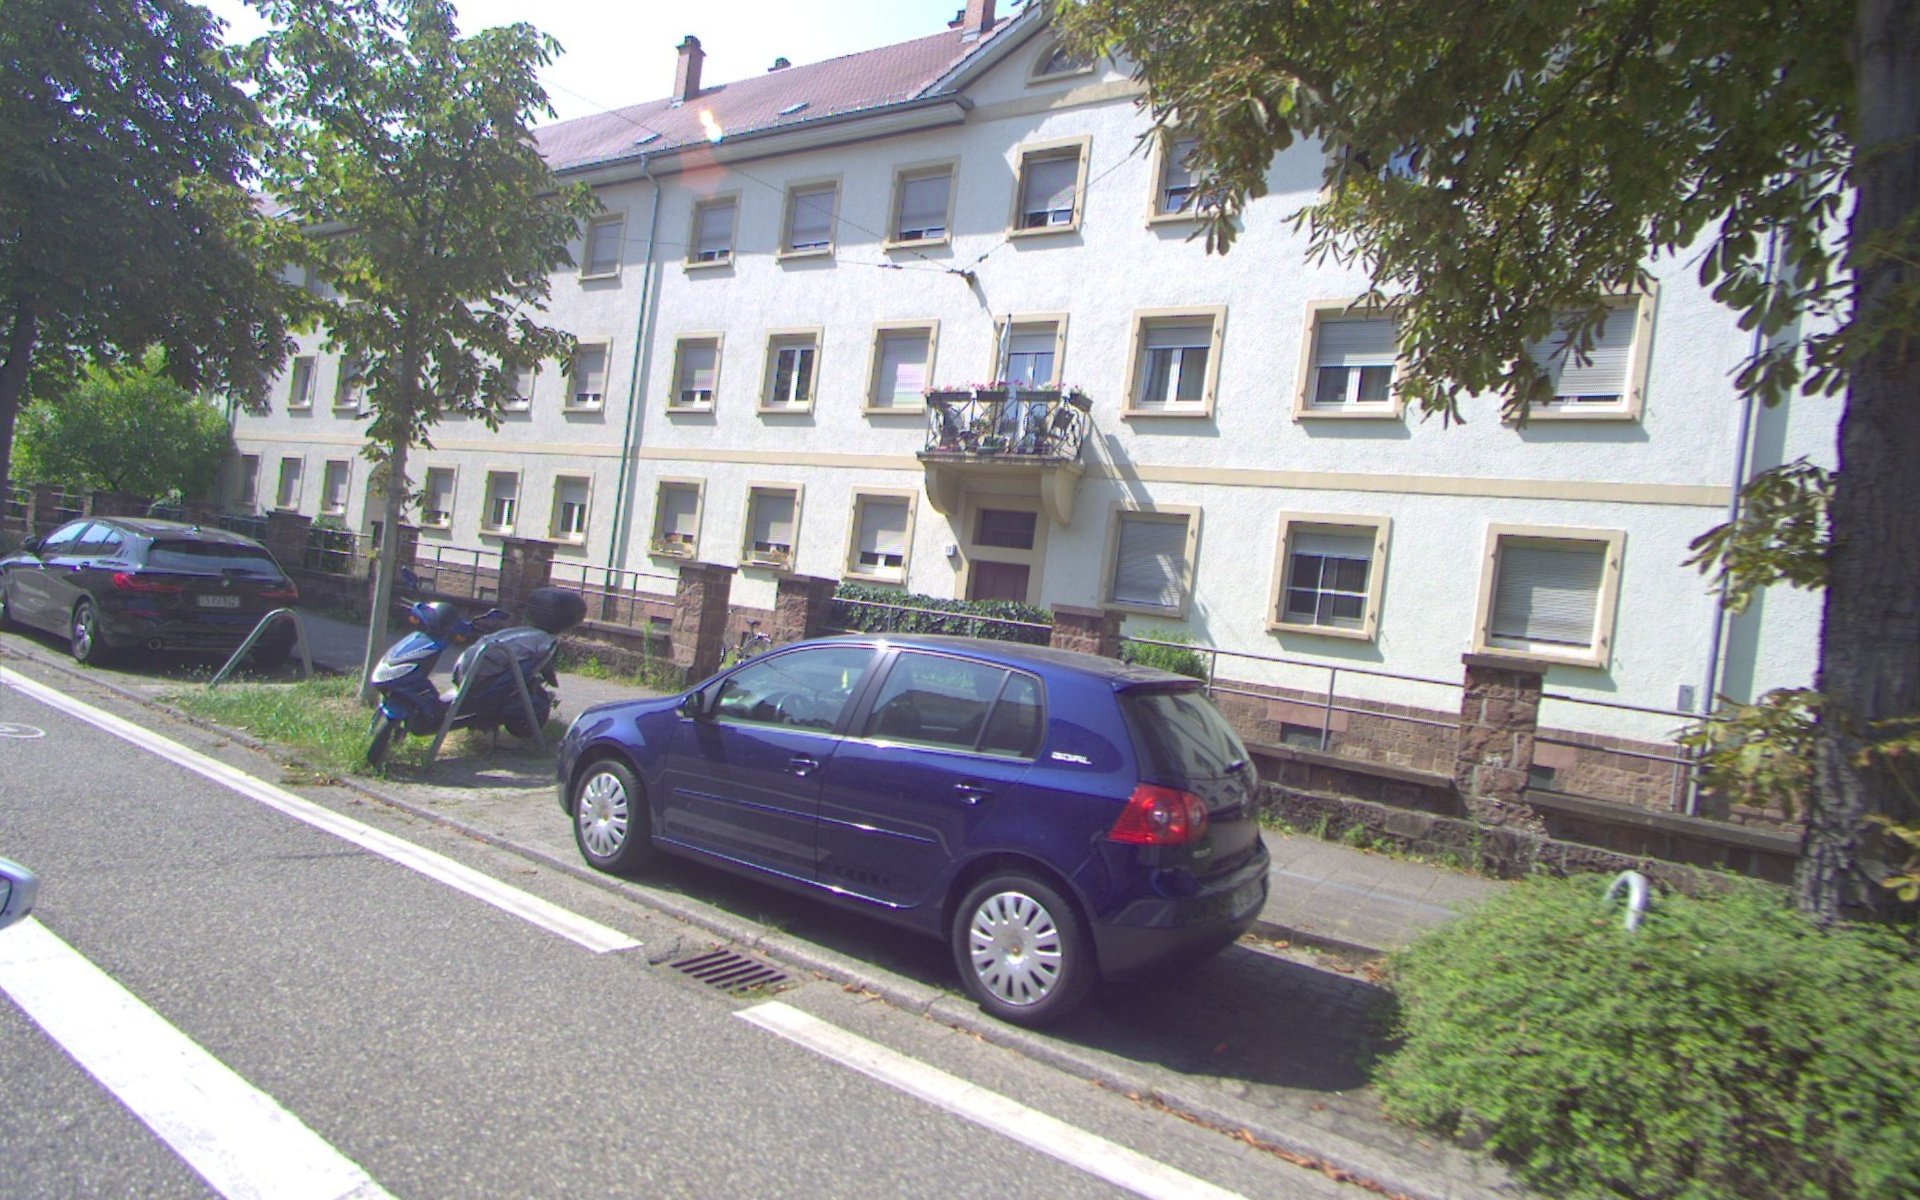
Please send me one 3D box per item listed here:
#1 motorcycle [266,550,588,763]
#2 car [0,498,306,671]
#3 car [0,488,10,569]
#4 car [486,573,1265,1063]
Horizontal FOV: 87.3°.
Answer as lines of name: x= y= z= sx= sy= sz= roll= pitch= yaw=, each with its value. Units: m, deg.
motorcycle: x=-4.064 y=0.455 z=7.878 sx=0.769 sy=1.384 sz=2.008 roll=7 pitch=-1 yaw=29
car: x=-9.488 y=-0.260 z=11.418 sx=4.384 sy=1.497 sz=1.755 roll=7 pitch=2 yaw=32
car: x=-17.833 y=-1.371 z=16.753 sx=4.313 sy=1.495 sz=1.758 roll=7 pitch=-1 yaw=31
car: x=-0.615 y=0.846 z=5.522 sx=3.972 sy=1.496 sz=1.618 roll=7 pitch=1 yaw=32
